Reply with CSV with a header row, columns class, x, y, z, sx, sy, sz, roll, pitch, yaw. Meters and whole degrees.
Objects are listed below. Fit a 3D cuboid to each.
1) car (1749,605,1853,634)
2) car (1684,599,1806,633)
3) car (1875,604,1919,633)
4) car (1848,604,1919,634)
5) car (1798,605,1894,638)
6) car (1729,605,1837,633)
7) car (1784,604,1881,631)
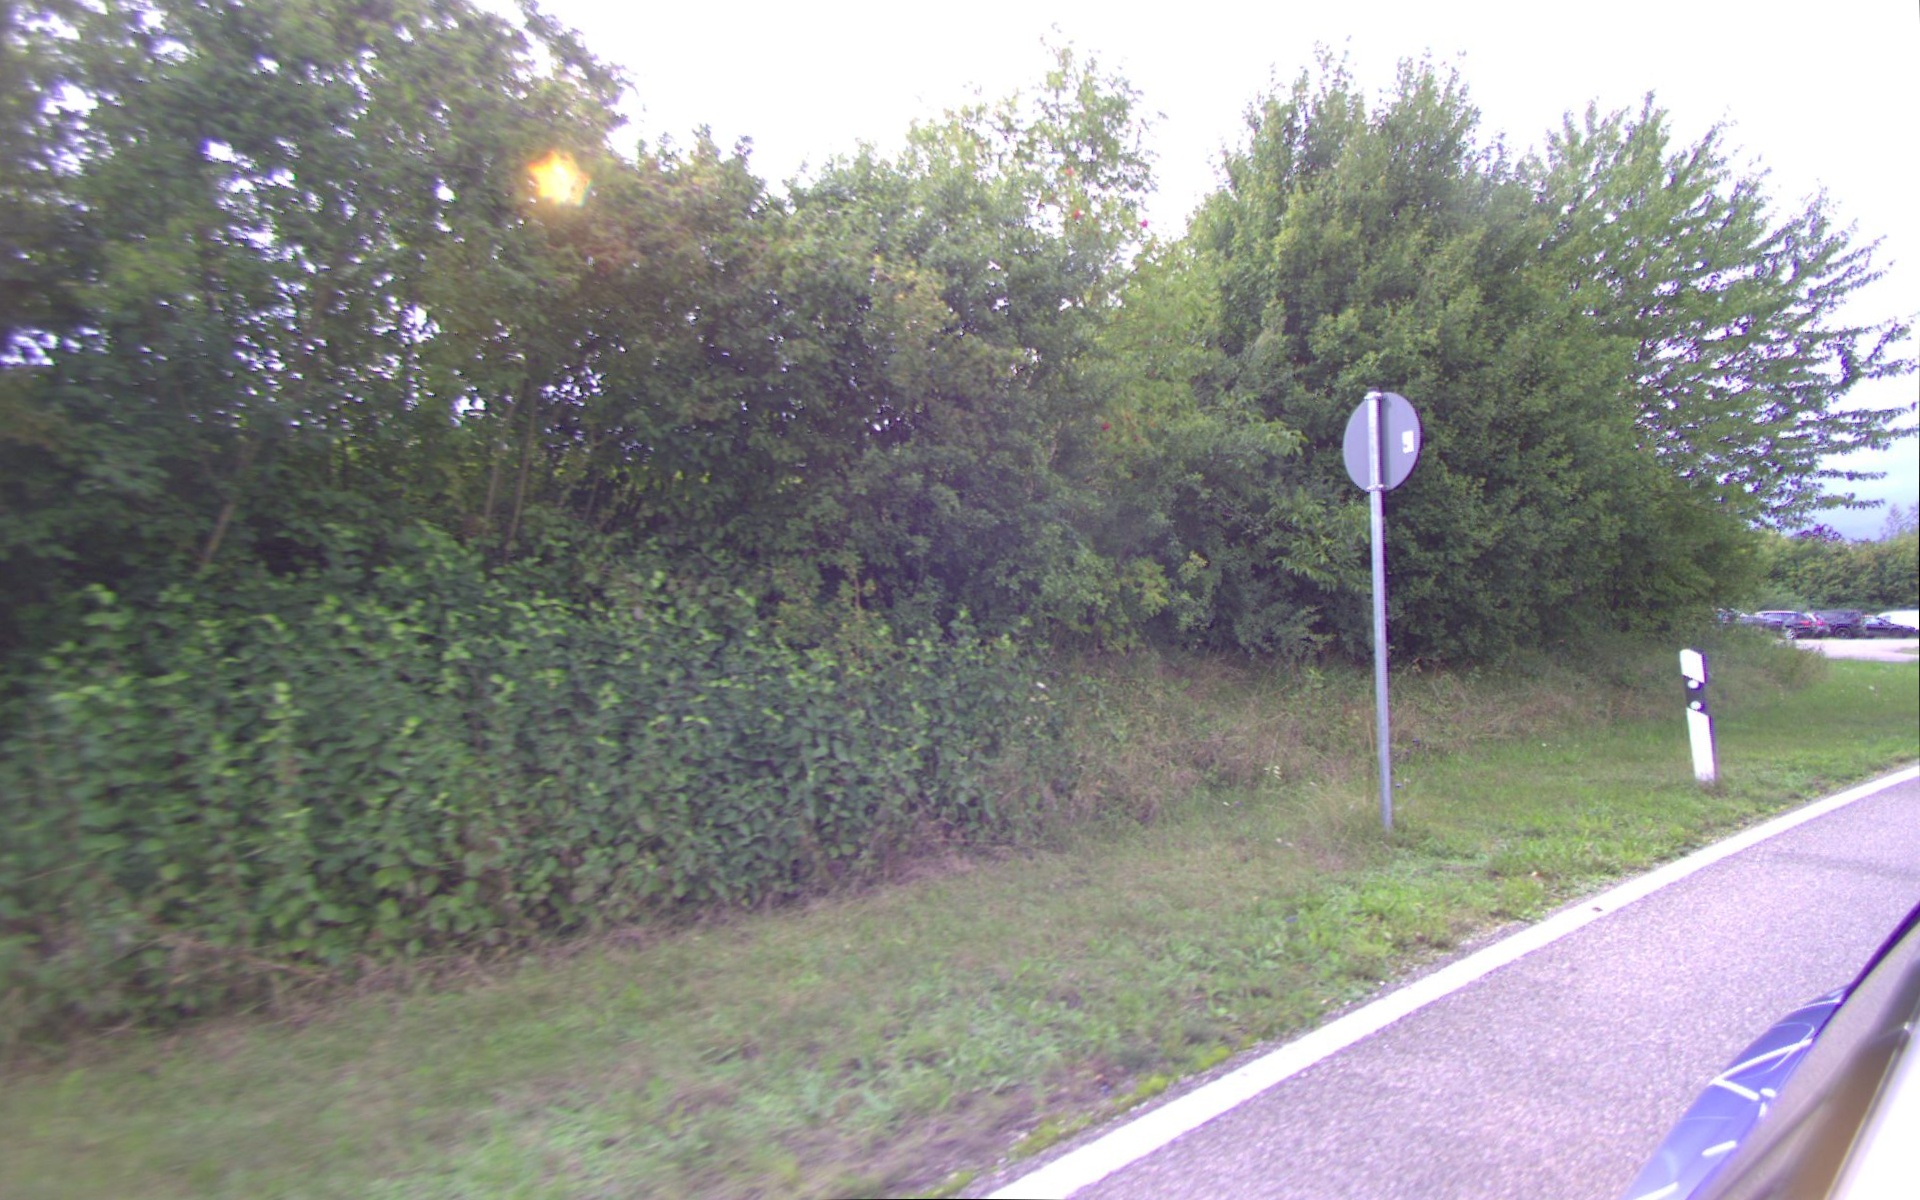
class,x,y,z,sx,sy,sz,roll,pitch,yaw
car,46.408,1.053,55.901,2.011,1.524,4.012,0,0,-32
car,38.963,0.778,50.312,1.964,1.601,4.488,0,0,-39
car,63.291,1.192,66.797,1.962,1.883,4.000,0,0,-35
car,60.397,1.177,65.612,1.711,1.883,4.000,0,0,-35
car,53.347,1.272,60.999,1.962,1.883,4.000,0,0,-35
car,43.681,0.981,53.777,1.964,1.432,4.161,0,0,-39
car,51.043,1.009,59.258,1.964,1.516,3.996,0,0,-39
